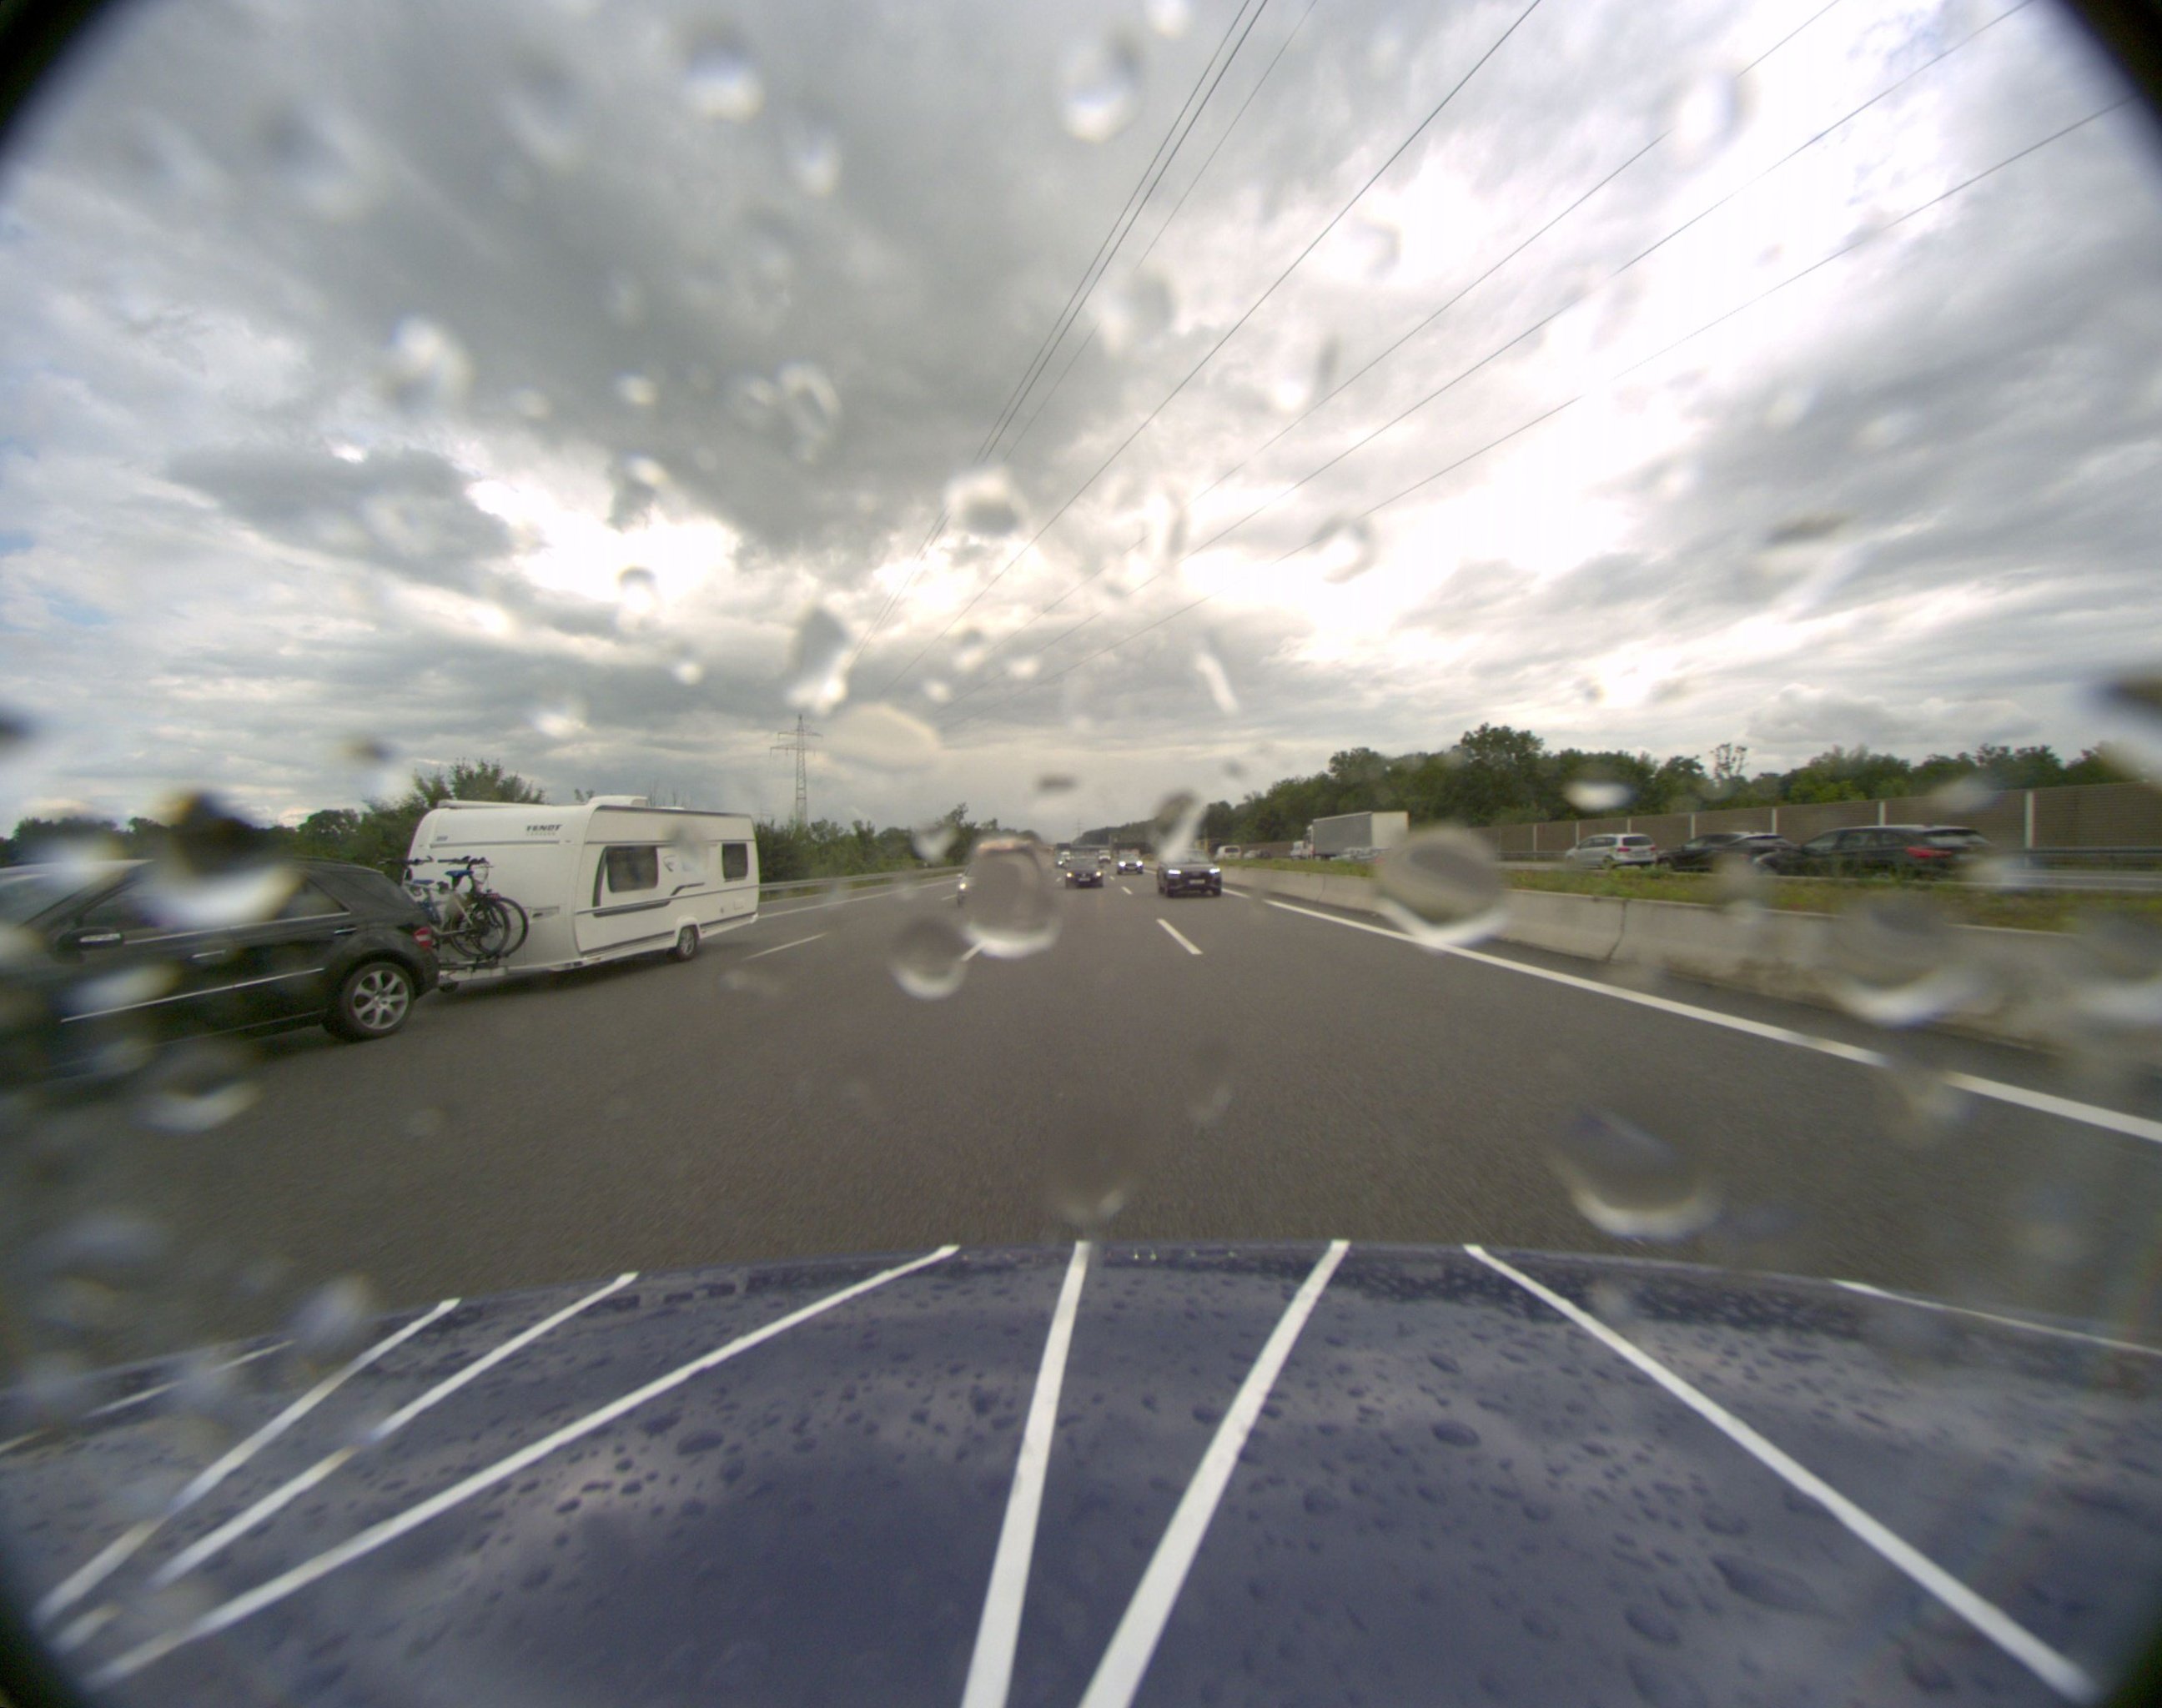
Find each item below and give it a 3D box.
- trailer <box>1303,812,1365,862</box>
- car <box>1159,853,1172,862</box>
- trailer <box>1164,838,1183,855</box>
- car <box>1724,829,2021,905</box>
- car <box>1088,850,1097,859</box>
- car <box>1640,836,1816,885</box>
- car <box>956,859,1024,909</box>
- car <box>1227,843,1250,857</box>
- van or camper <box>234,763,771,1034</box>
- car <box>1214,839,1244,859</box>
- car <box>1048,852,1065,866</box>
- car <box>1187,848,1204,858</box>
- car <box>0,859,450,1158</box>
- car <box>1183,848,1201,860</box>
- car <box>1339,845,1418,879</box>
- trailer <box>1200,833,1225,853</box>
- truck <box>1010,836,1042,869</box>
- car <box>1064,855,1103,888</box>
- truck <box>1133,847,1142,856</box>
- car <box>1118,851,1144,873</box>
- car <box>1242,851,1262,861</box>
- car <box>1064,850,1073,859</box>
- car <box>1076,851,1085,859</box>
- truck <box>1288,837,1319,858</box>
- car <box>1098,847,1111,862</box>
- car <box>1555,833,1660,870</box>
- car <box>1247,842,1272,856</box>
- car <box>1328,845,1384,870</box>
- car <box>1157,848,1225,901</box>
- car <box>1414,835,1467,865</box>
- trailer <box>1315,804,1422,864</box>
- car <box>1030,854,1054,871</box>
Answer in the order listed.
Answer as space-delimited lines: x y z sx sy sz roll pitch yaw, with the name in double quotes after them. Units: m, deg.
22.156 -1.452 66.893 3.327 4.020 6.078 -2 1 1 "trailer"
15.164 0.612 136.722 1.770 1.528 5.160 -2 0 0 "car"
22.244 -1.858 182.911 2.732 3.863 14.050 -2 0 0 "trailer"
18.026 0.241 17.760 1.770 1.446 4.942 -2 0 0 "car"
2.715 0.186 175.796 1.998 2.002 4.000 -2 0 1 "car"
21.860 0.199 25.998 1.770 1.446 4.942 -2 0 0 "car"
-2.944 0.937 25.426 1.683 1.437 4.000 -2 0 1 "car"
19.566 -0.491 94.809 1.770 1.528 5.160 -2 0 0 "car"
-7.486 0.449 11.505 2.390 2.723 7.208 -2 0 1 "van or camper"
14.972 -0.487 76.976 1.927 1.888 5.160 -2 0 0 "car"
-3.195 0.660 98.055 1.998 1.701 3.999 -2 0 0 "car"
18.807 -0.174 125.061 1.770 1.540 5.713 -2 0 0 "car"
-7.490 0.978 5.524 1.925 1.766 4.502 -2 0 1 "car"
14.784 0.030 101.312 1.770 1.528 4.482 -2 0 0 "car"
14.206 0.336 36.589 1.770 1.446 5.085 -2 0 0 "car"
26.713 -2.177 155.219 2.684 3.941 14.051 -2 0 1 "trailer"
-6.581 -0.216 91.939 2.870 3.633 9.594 -2 0 1 "truck"
0.154 0.789 36.878 1.717 1.437 4.000 -2 0 1 "car"
18.477 -0.872 246.678 2.335 2.811 6.248 -2 0 0 "truck"
3.827 0.581 58.634 1.840 1.615 4.915 -2 0 3 "car"
26.465 0.327 117.784 1.770 1.487 5.160 -2 0 0 "car"
-2.804 0.067 171.387 1.998 2.002 4.000 -2 0 1 "car"
-0.066 0.227 190.521 1.998 2.002 4.000 -2 0 1 "car"
26.352 -0.788 90.143 2.121 2.403 5.797 -2 0 3 "truck"
4.007 0.087 128.400 1.998 2.524 4.808 -2 0 1 "car"
25.958 -0.129 37.709 1.770 1.601 4.942 -2 0 0 "car"
21.644 -0.607 92.110 1.770 1.528 5.160 -2 0 0 "car"
17.918 0.199 49.813 1.770 1.528 5.160 -2 0 0 "car"
3.881 0.660 27.619 1.913 1.681 5.169 -2 0 3 "car"
26.311 -0.301 55.744 2.007 2.002 4.000 -2 0 2 "car"
22.101 -1.424 59.653 3.327 4.038 13.287 -2 0 1 "trailer"
-3.543 0.731 69.907 1.840 1.437 4.000 -2 0 1 "car"
